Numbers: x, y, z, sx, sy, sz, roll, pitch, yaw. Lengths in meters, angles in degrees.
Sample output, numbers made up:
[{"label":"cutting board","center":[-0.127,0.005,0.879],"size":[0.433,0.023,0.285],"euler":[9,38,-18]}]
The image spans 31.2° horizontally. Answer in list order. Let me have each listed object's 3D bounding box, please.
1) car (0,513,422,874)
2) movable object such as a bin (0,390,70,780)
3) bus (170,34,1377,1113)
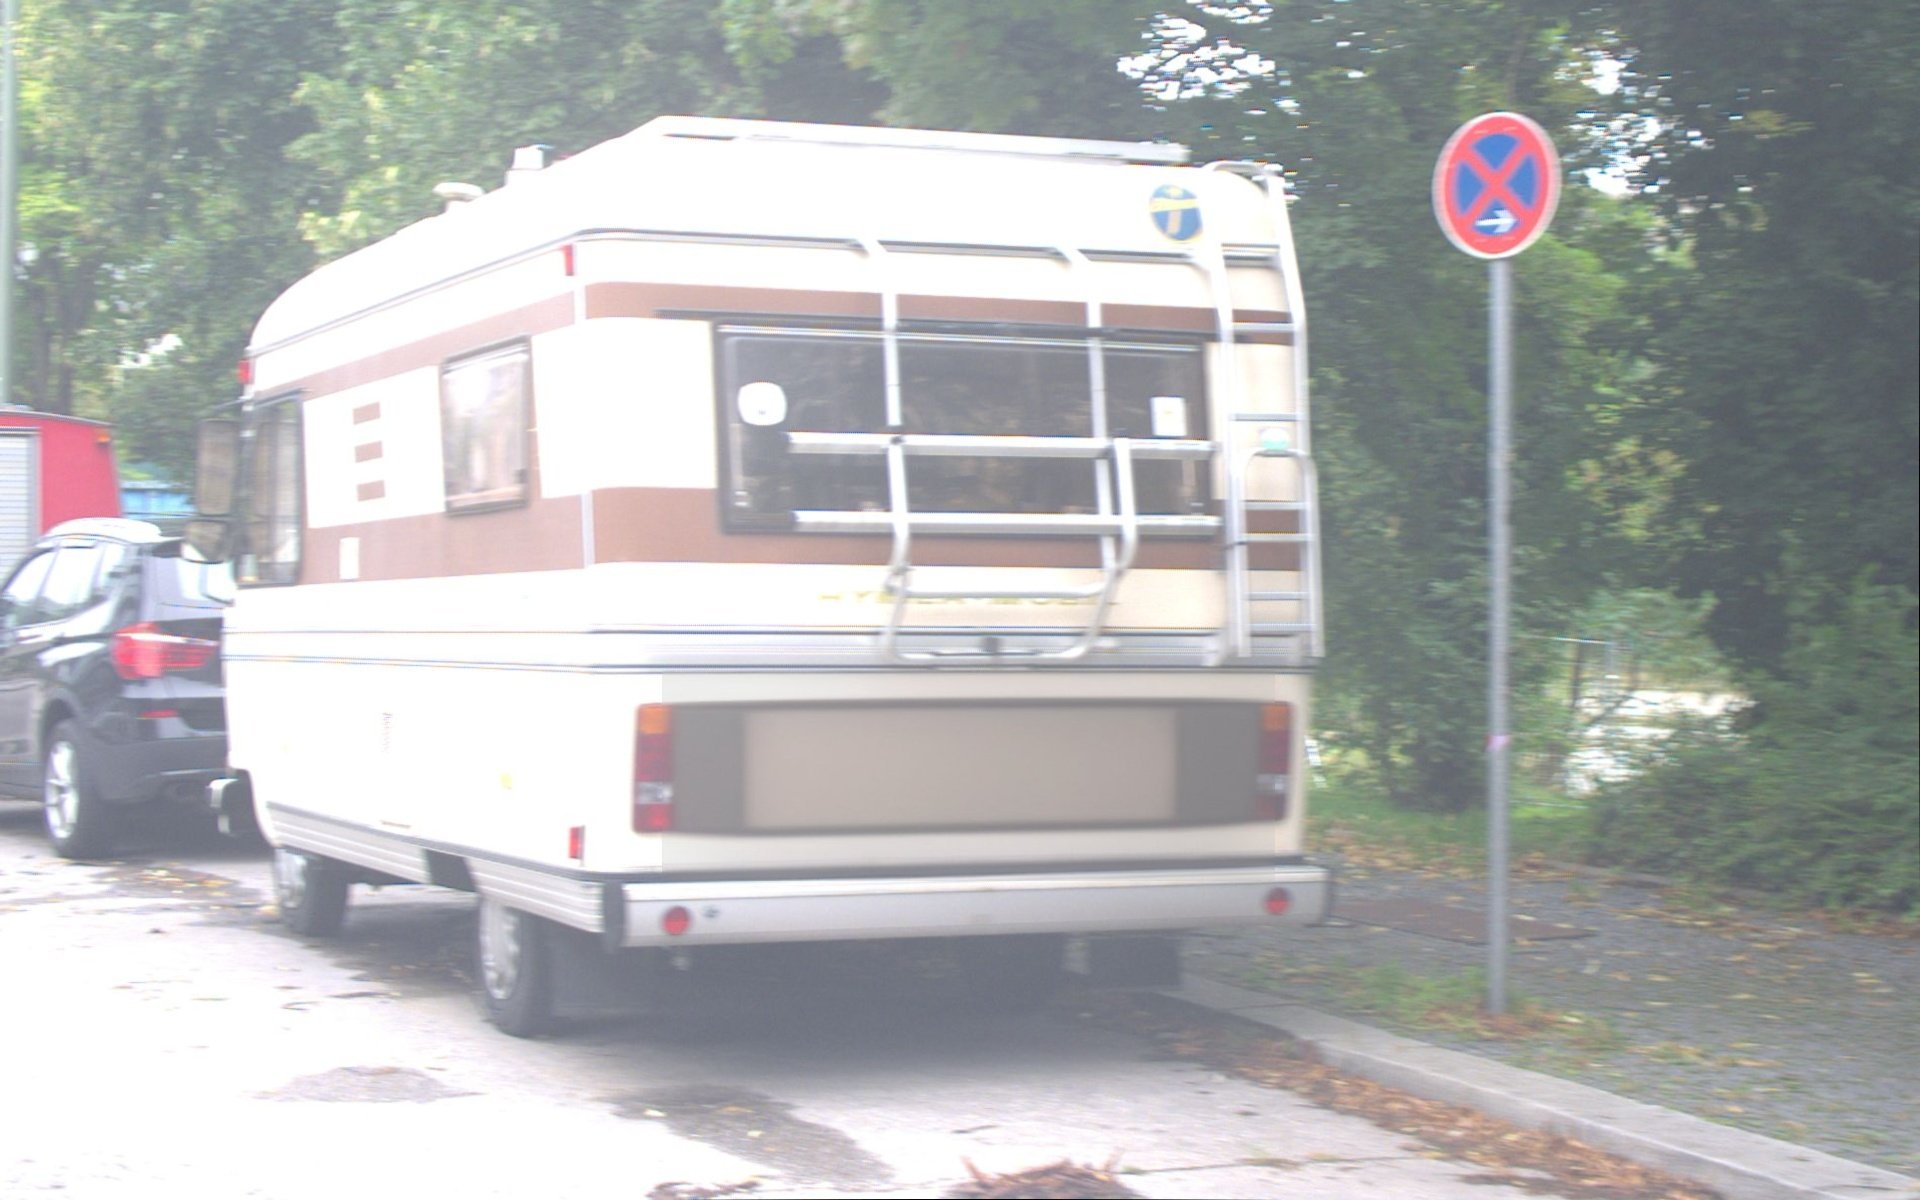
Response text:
[{"label":"car","center":[-4.476,0.397,18.033],"size":[1.776,1.644,4.460],"euler":[0,1,-30]},{"label":"movable object such as a bin","center":[-7.993,-0.146,24.060],"size":[2.104,2.450,6.188],"euler":[0,1,-27]},{"label":"bus","center":[-1.025,-0.098,11.660],"size":[2.314,2.690,5.736],"euler":[1,1,-22]}]
